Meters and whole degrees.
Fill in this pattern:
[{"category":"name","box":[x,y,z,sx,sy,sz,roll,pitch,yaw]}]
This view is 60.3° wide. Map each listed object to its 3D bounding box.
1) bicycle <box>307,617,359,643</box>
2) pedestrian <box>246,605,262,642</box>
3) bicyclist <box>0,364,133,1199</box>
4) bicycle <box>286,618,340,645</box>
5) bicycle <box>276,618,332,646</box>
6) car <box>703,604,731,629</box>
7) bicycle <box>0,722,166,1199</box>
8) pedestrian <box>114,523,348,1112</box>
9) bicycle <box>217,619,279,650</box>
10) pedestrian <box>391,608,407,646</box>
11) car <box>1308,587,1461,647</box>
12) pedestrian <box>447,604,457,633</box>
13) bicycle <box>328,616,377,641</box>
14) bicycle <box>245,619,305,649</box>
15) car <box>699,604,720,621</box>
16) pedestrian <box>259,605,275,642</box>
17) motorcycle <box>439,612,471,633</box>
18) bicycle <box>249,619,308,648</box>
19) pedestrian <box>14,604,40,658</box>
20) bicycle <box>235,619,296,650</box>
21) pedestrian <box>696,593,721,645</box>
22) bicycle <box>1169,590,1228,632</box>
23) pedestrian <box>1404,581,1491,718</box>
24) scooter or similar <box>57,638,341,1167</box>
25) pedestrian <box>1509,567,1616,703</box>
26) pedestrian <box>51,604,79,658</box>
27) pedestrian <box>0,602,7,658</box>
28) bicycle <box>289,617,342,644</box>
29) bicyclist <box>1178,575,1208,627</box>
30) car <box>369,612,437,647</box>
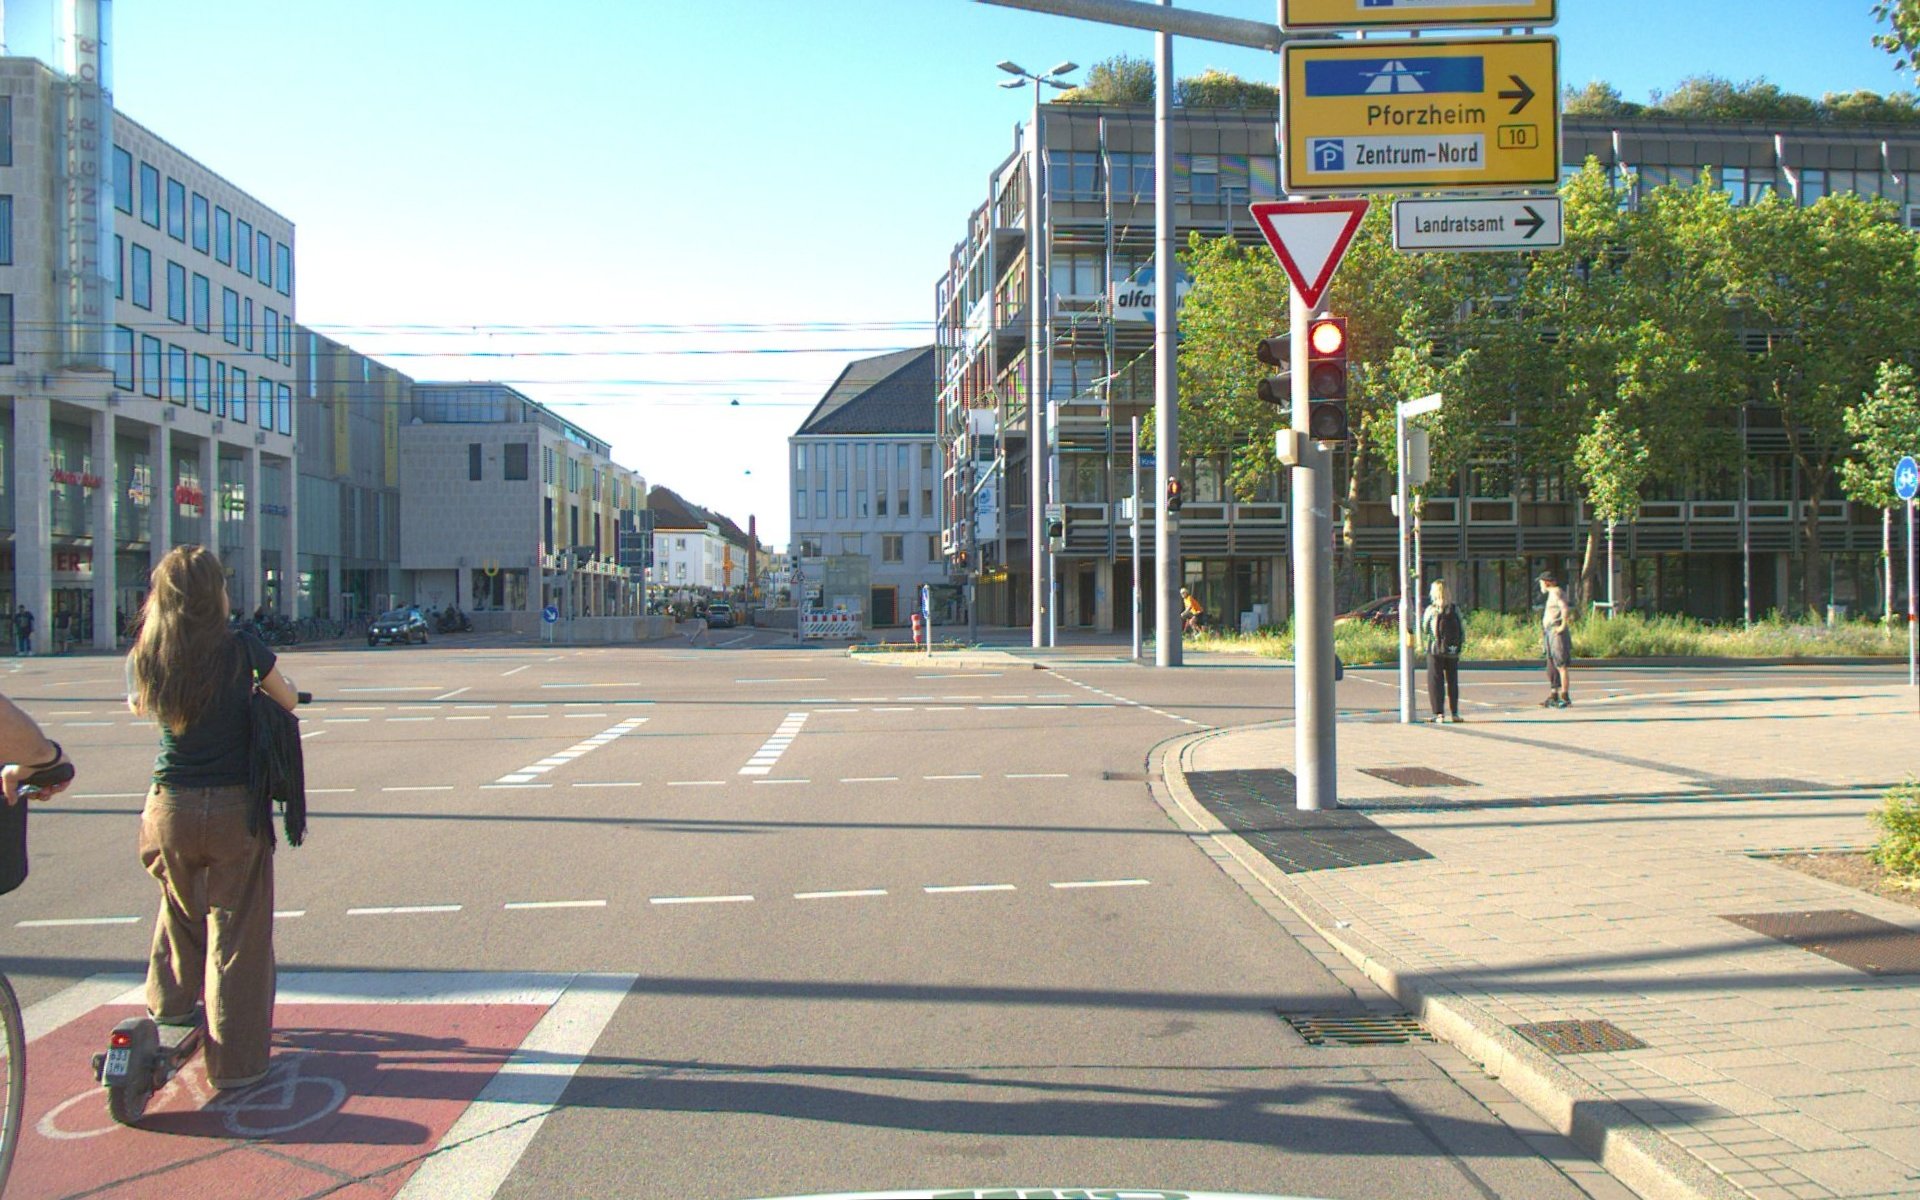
[{"category":"bicycle","box":[-30.332,1.463,80.047,2.260,1.244,0.611,0,0,-3]},{"category":"pedestrian","box":[-33.072,1.097,77.493,0.560,1.709,0.614,1,0,-10]},{"category":"bicyclist","box":[-1.978,0.465,2.847,0.647,1.750,0.865,1,-1,-1]},{"category":"bicycle","box":[-30.063,1.453,76.844,2.260,1.244,0.611,0,0,-3]},{"category":"bicycle","box":[-29.602,1.452,74.694,2.260,1.244,0.611,0,0,-3]},{"category":"car","box":[-15.823,1.063,107.941,1.705,1.558,3.849,1,0,-8]},{"category":"bicycle","box":[-2.082,0.869,2.922,0.475,1.176,1.831,1,0,-1]},{"category":"pedestrian","box":[-2.188,0.618,5.023,0.540,1.661,0.569,1,-1,-16]},{"category":"bicycle","box":[-29.332,1.428,68.112,2.260,1.244,0.611,0,0,-3]},{"category":"pedestrian","box":[-26.434,1.265,77.954,0.639,1.749,0.447,0,0,-25]},{"category":"car","box":[11.860,0.464,46.319,3.812,1.613,1.656,-1,0,-8]},{"category":"pedestrian","box":[-30.096,1.078,98.074,0.512,1.709,0.581,1,0,-14]},{"category":"bicycle","box":[-30.926,1.471,84.263,2.260,1.244,0.611,0,0,-3]},{"category":"bicycle","box":[-29.289,1.440,70.752,2.260,1.244,0.611,0,0,-3]},{"category":"car","box":[-22.931,1.108,151.353,1.751,1.477,3.993,1,0,-7]},{"category":"pedestrian","box":[-32.538,1.082,77.653,0.544,1.709,0.606,1,0,-11]},{"category":"motorcycle","box":[-29.759,1.332,97.472,1.775,1.228,0.509,1,0,-16]},{"category":"bicycle","box":[-29.502,1.440,71.629,2.260,1.244,0.611,0,0,-3]},{"category":"pedestrian","box":[-32.861,1.081,58.259,0.787,1.876,0.856,0,0,-29]},{"category":"bicycle","box":[-29.125,1.437,69.398,2.260,1.244,0.611,0,0,-3]},{"category":"pedestrian","box":[-9.323,0.705,61.215,0.628,1.923,0.791,1,-1,14]},{"category":"bicycle","box":[6.821,0.309,47.319,1.615,1.175,0.496,1,-1,-10]},{"category":"pedestrian","box":[5.516,0.552,18.744,0.772,1.518,0.644,1,-1,-1]},{"category":"scooter or similar","box":[-2.178,0.786,4.855,0.538,1.316,1.189,1,0,-15]},{"category":"pedestrian","box":[7.712,0.447,21.193,0.866,1.694,0.958,1,-1,-22]},{"category":"pedestrian","box":[-31.170,1.073,57.599,0.788,1.876,0.854,0,0,-33]},{"category":"pedestrian","box":[-33.188,1.030,56.791,0.706,1.918,0.780,1,-1,-28]},{"category":"bicycle","box":[-30.712,1.451,78.814,2.260,1.244,0.611,0,0,-3]},{"category":"bicyclist","box":[6.665,0.041,47.300,0.698,1.462,0.496,1,-1,-10]},{"category":"car","box":[-23.376,1.210,69.480,1.597,1.365,3.998,-3,0,-3]}]
